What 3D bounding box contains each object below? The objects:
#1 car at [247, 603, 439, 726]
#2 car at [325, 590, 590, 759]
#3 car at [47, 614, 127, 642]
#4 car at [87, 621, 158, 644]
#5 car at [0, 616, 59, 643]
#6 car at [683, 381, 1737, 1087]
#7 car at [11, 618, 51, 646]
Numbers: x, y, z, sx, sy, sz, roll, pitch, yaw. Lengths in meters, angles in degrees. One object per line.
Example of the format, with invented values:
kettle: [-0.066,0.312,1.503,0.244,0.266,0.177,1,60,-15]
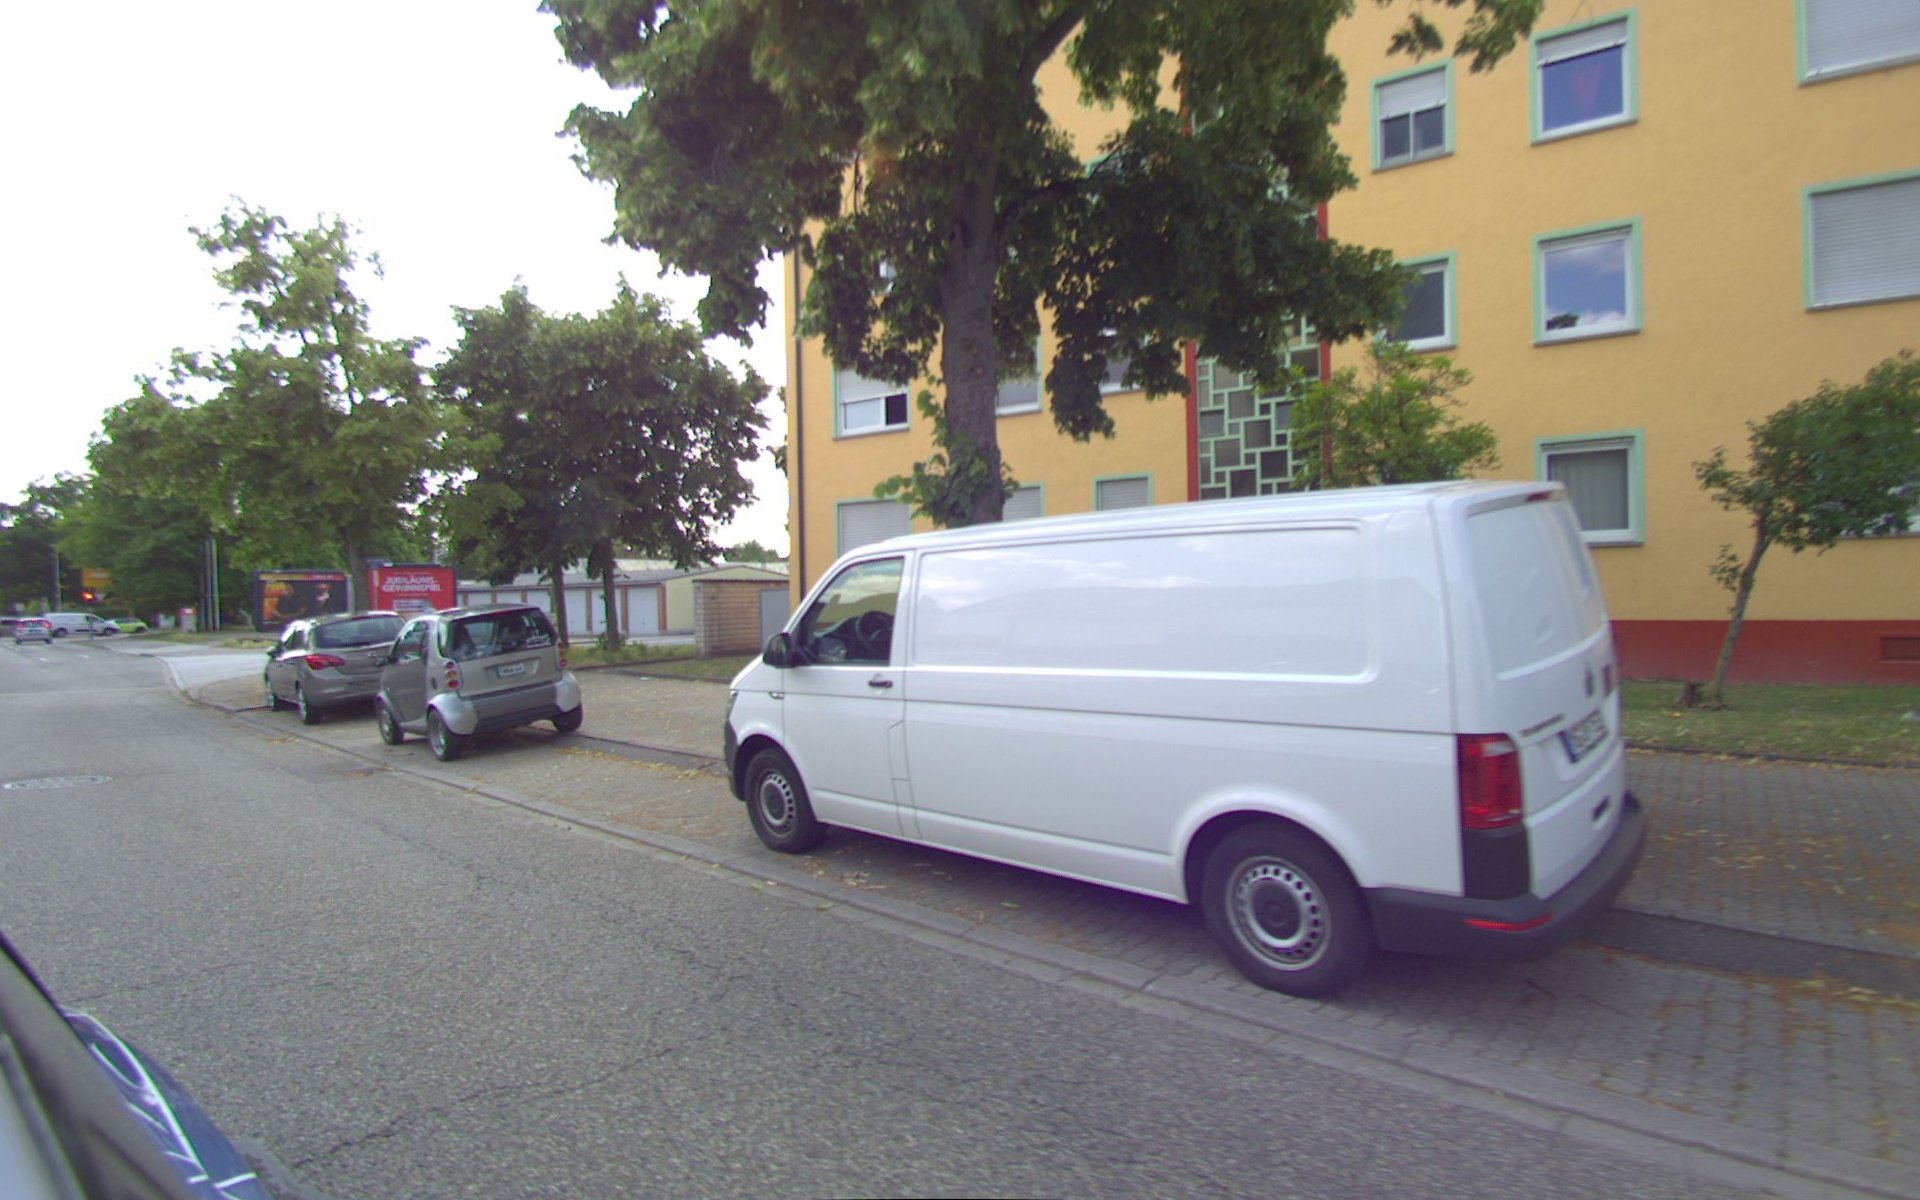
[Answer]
car: [-9.514,0.862,15.469,1.664,1.497,3.988,-5,4,-43]
car: [-6.068,0.794,12.026,3.756,1.560,1.501,-2,5,44]
car: [-68.436,2.169,79.404,1.724,1.967,4.485,-1,0,33]
car: [-73.438,2.795,88.747,1.724,1.790,4.482,-1,0,35]
car: [-67.832,2.146,72.566,1.724,1.790,4.485,-1,0,33]
car: [0.696,0.430,5.470,1.858,2.024,5.325,-1,-1,-44]
car: [-54.704,1.847,59.594,3.610,1.528,1.536,-1,0,45]
